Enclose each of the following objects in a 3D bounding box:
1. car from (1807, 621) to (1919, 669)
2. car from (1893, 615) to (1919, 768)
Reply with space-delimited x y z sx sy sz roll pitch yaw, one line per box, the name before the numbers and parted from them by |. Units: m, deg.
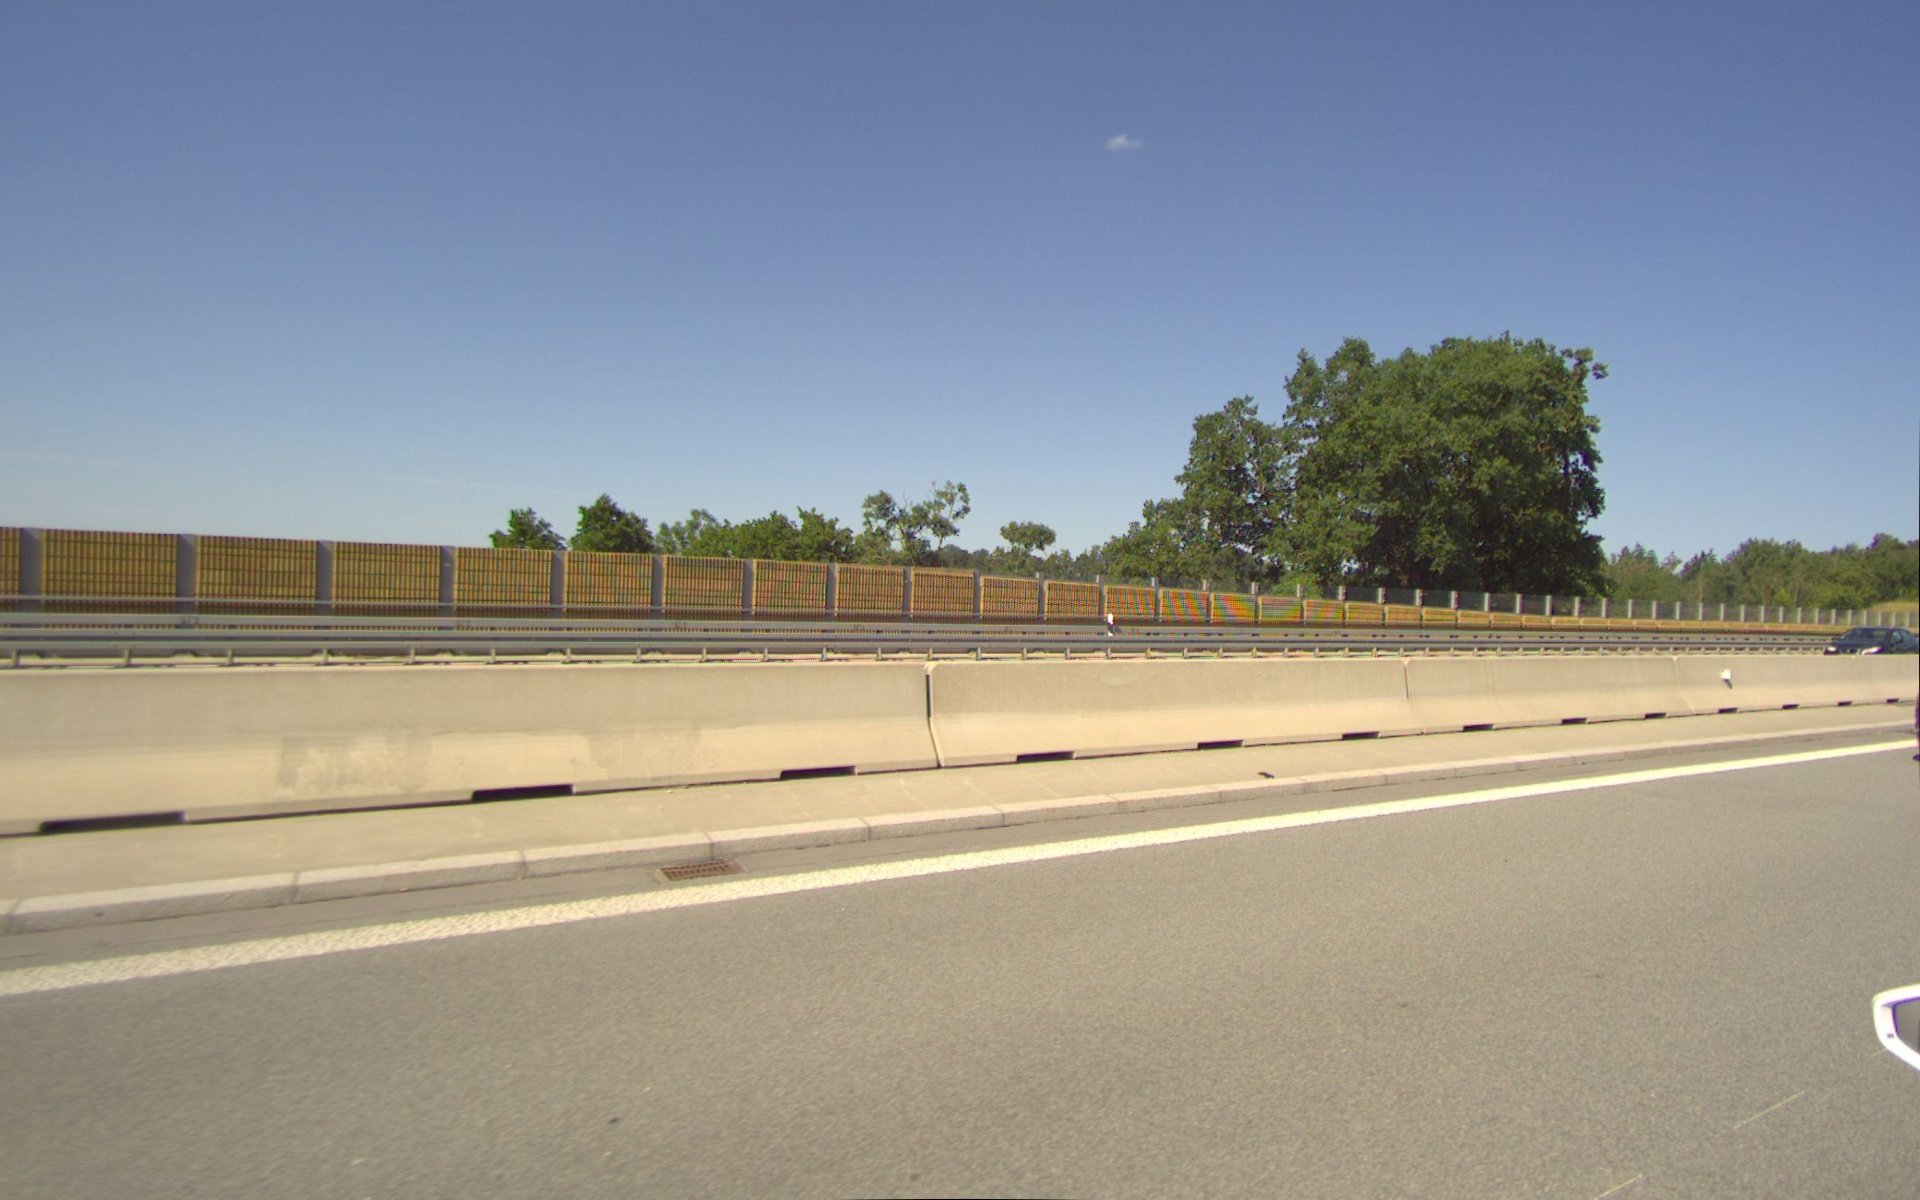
car | 30.608 1.511 34.027 4.398 1.477 1.572 1 0 -31
car | 12.675 1.026 11.328 5.160 1.609 1.714 1 0 -30
